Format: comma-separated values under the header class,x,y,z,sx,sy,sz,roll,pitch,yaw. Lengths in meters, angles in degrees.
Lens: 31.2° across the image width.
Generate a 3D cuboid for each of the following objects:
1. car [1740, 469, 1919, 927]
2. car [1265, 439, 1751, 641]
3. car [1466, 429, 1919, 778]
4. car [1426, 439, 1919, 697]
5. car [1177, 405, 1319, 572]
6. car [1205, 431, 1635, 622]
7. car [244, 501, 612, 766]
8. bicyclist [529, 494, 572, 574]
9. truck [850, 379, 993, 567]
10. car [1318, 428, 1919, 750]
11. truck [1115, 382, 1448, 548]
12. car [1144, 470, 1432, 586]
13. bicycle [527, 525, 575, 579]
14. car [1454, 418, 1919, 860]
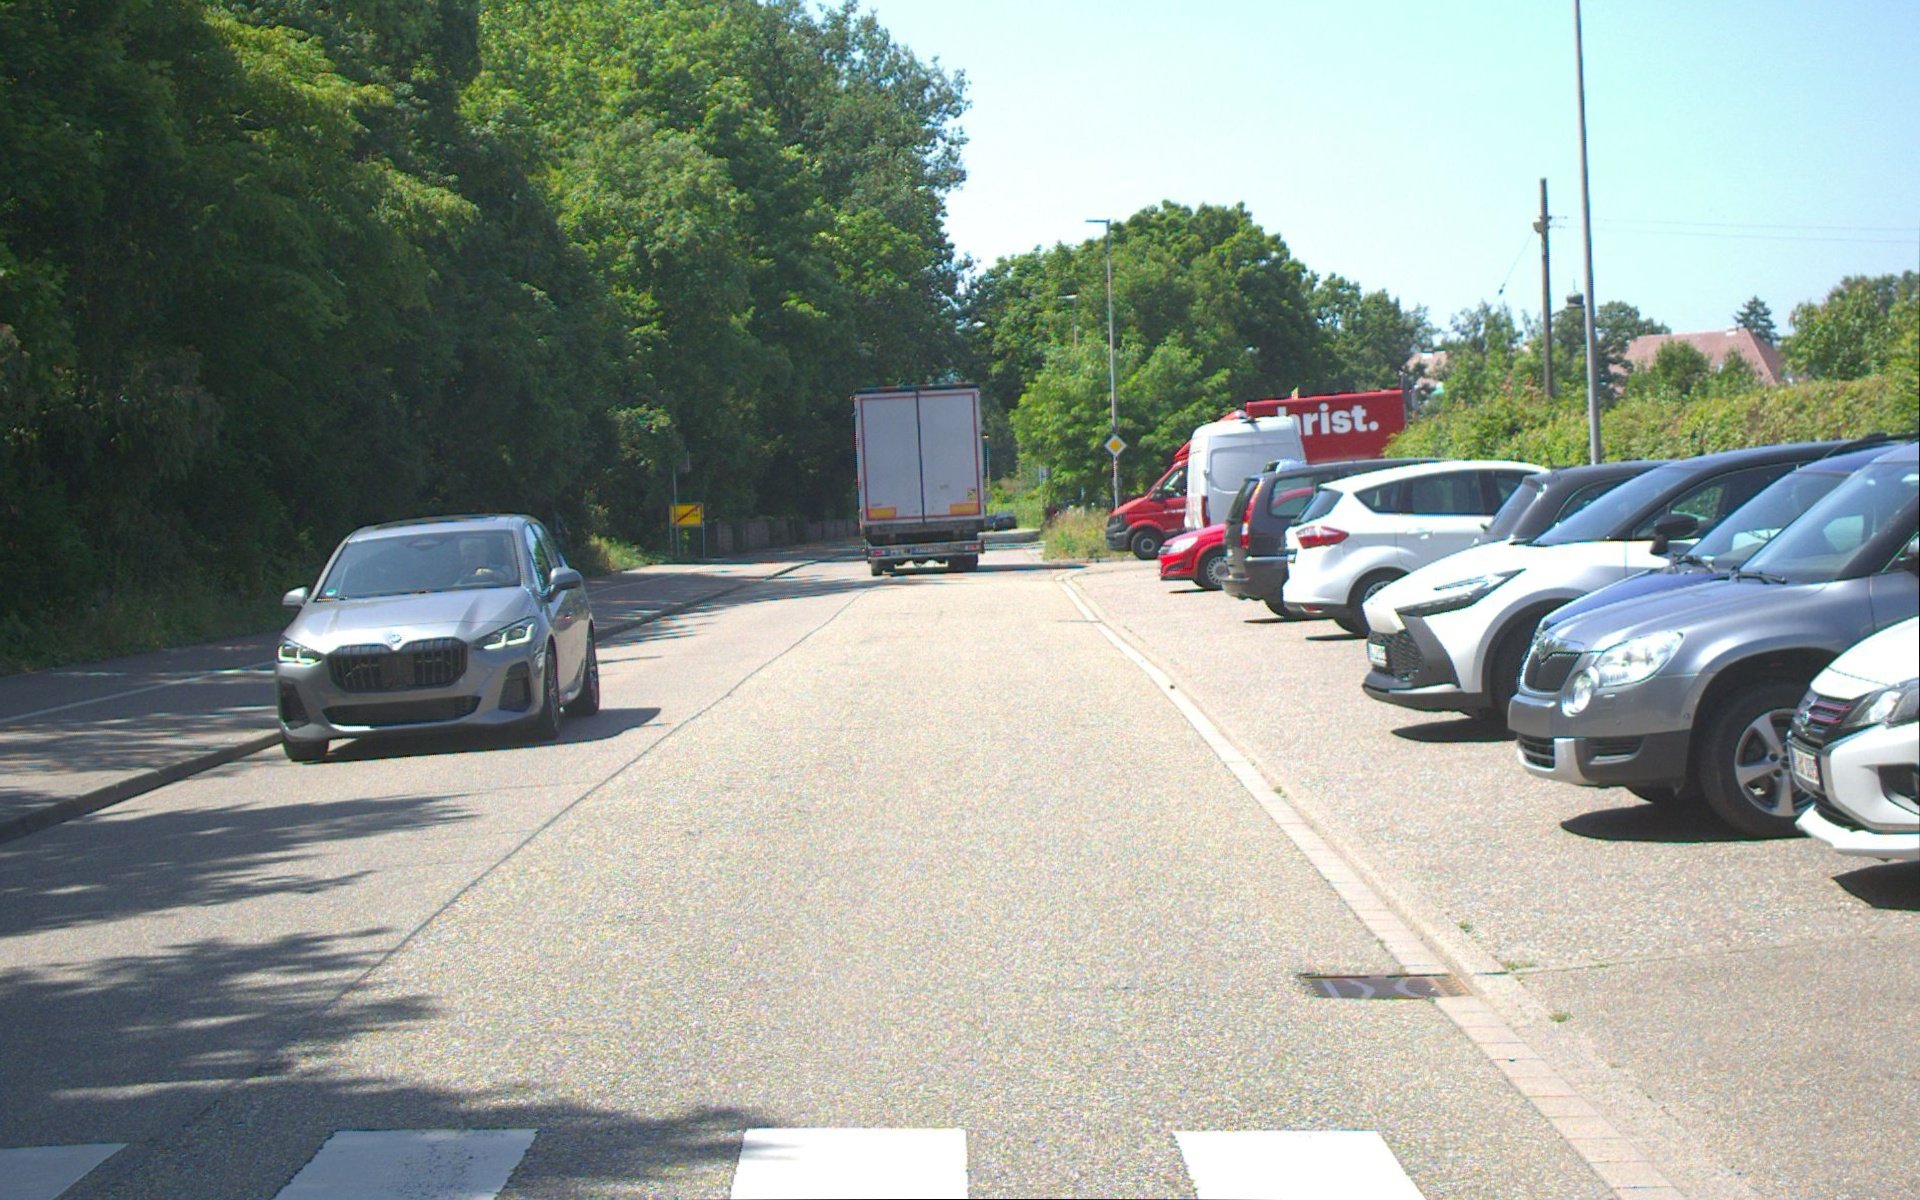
class,x,y,z,sx,sy,sz,roll,pitch,yaw
car,4.775,0.155,11.991,3.690,1.445,1.610,-5,2,4
car,5.226,-0.595,33.135,4.276,1.572,1.766,-4,2,-1
car,4.559,-0.069,17.829,3.452,1.522,1.540,-6,2,-5
car,5.017,-0.244,23.688,3.388,1.498,1.588,-4,2,4
car,5.177,-2.047,62.695,1.954,2.724,7.168,-4,2,1
car,5.214,-0.844,39.343,4.452,1.798,1.953,-4,1,-4
car,-3.655,0.157,24.346,1.891,1.527,4.197,-6,2,-1
bicyclist,-8.151,-1.327,68.477,0.648,1.559,0.837,-2,2,4
truck,-0.708,-2.748,75.846,2.733,3.733,13.246,-1,2,1
car,4.347,-0.119,20.681,3.962,1.517,1.865,-6,2,-5
truck,7.199,-3.011,76.726,7.140,3.428,2.329,-1,2,11
car,4.950,-1.102,52.207,4.053,1.429,1.836,-4,2,-2
bicycle,-8.140,-0.965,68.479,0.561,1.023,1.839,-2,2,4
car,4.346,0.024,14.901,3.960,1.634,1.664,-6,2,-5
